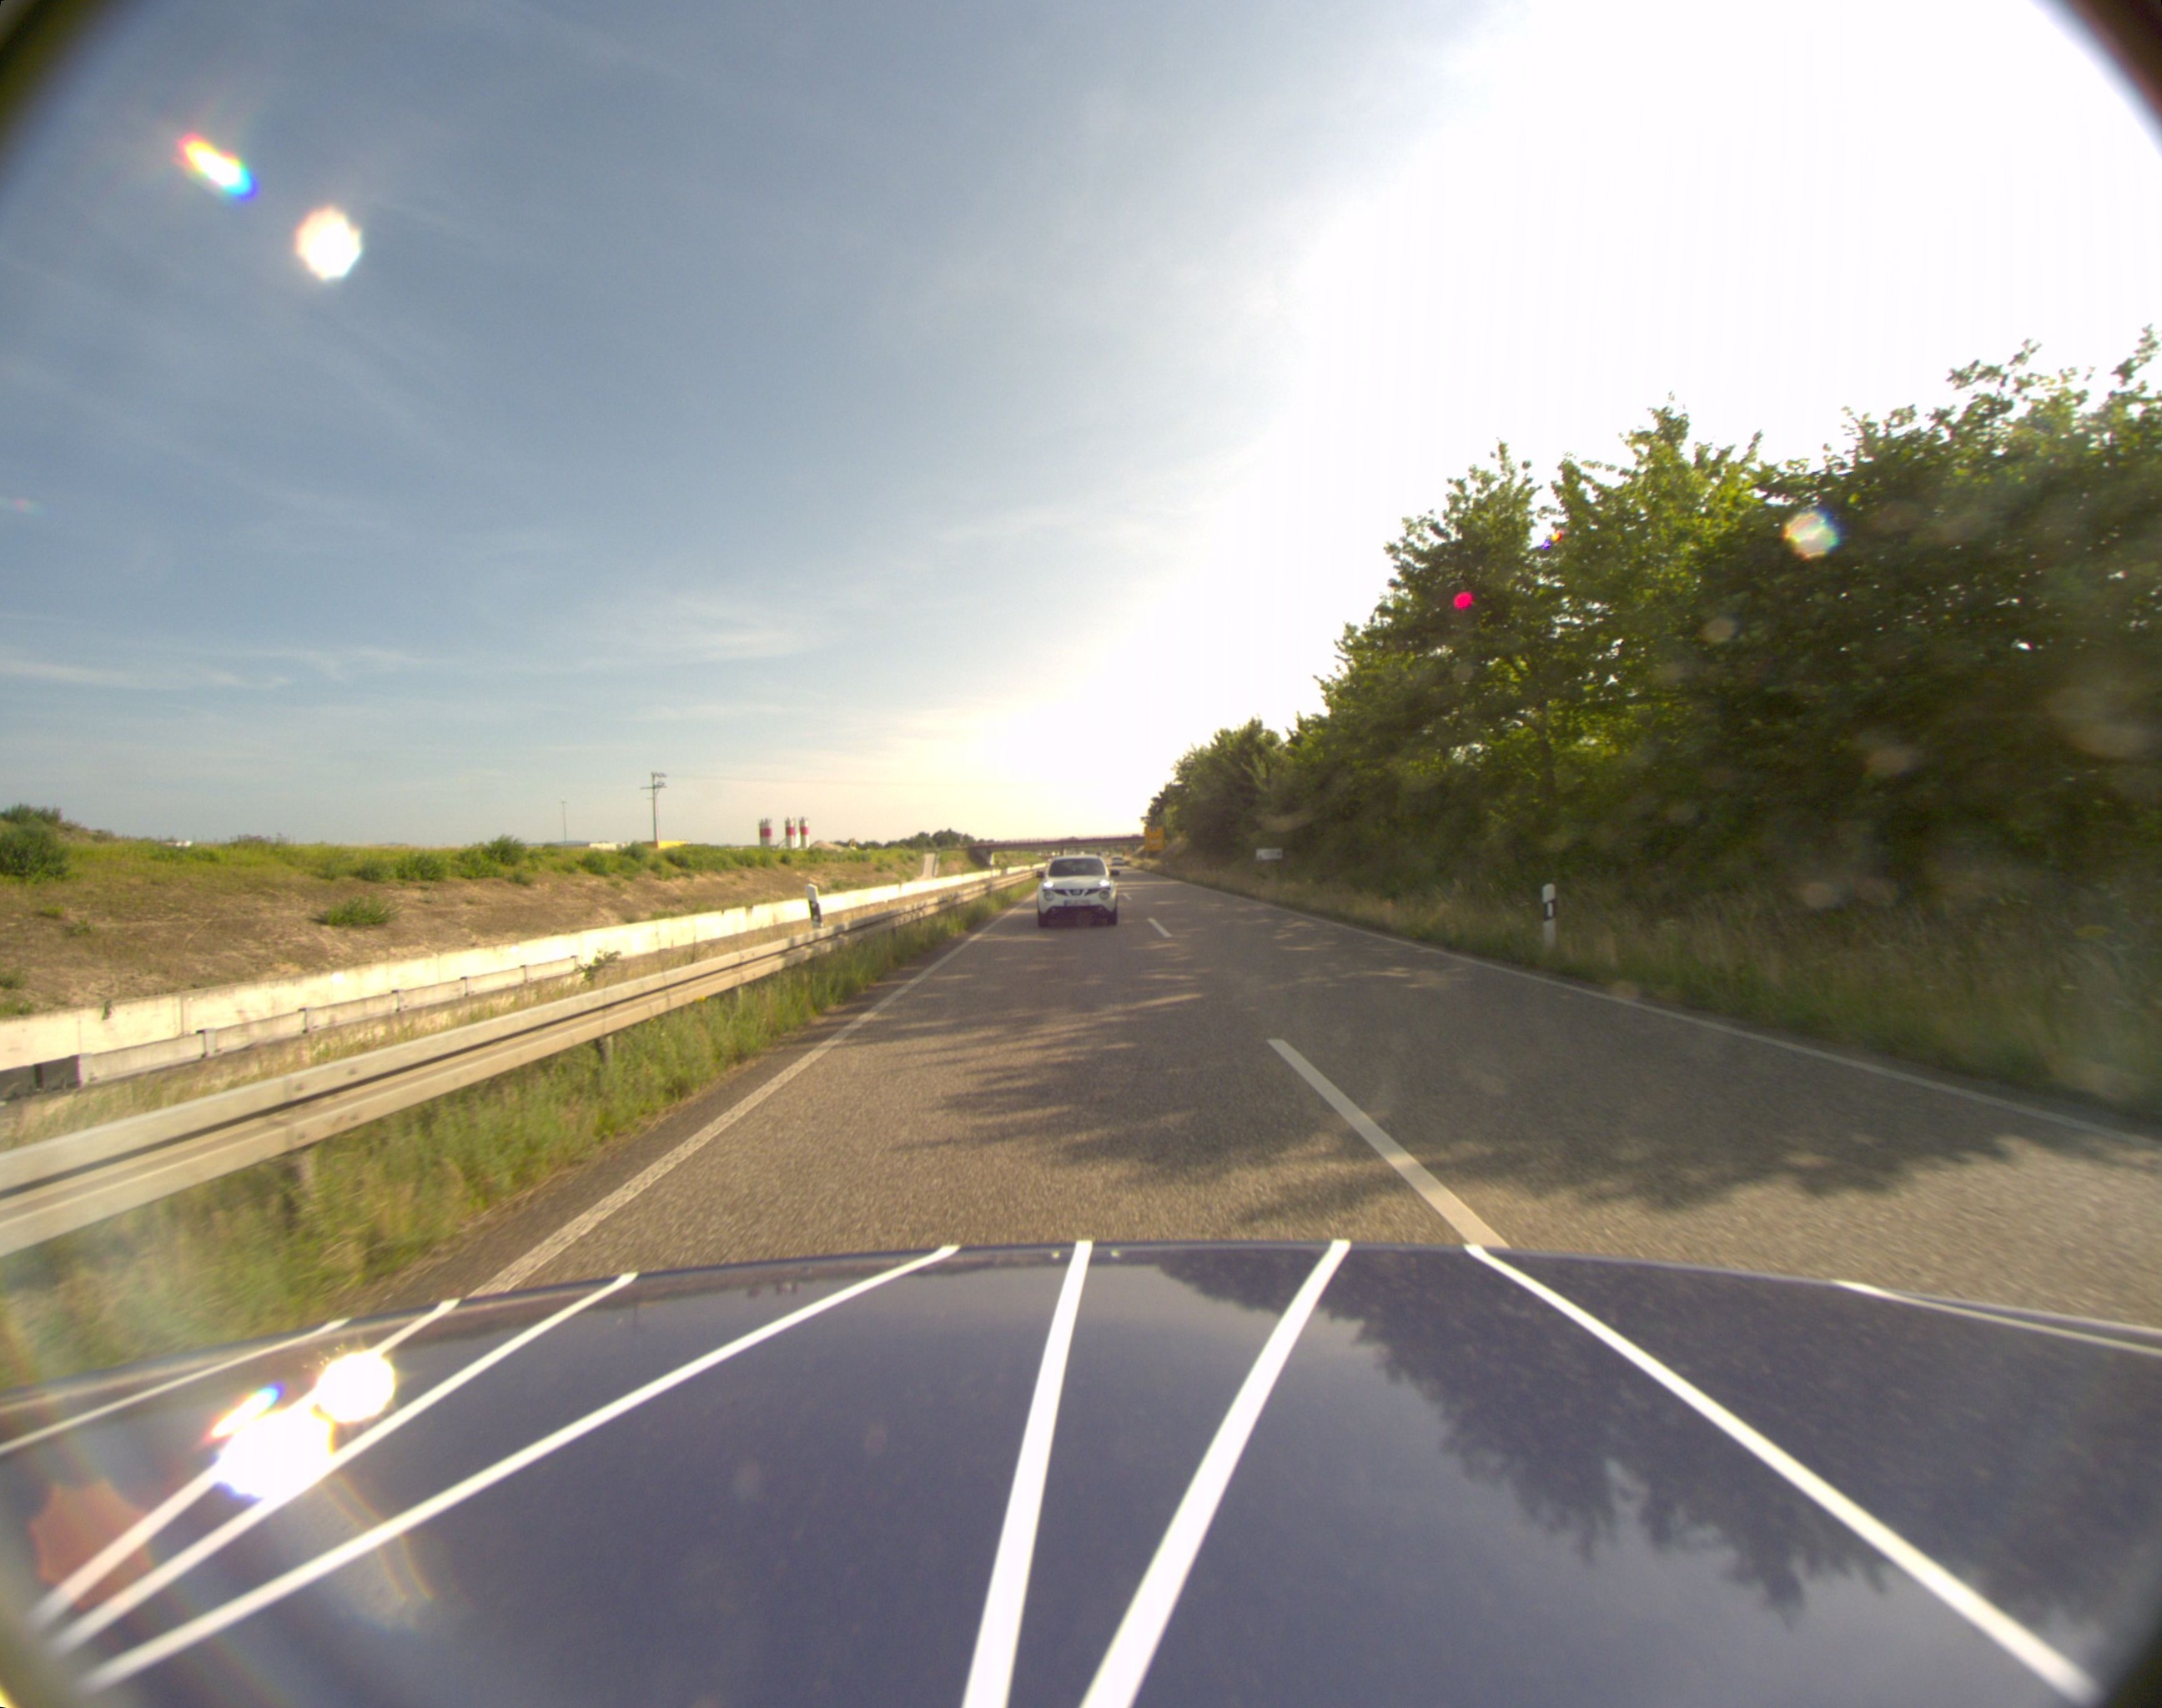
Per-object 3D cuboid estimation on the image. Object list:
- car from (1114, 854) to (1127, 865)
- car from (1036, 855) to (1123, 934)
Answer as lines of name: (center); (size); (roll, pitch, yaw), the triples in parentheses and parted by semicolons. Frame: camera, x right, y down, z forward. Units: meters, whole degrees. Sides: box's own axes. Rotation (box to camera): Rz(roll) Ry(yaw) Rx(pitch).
car: (6.040, 0.876, 117.738); (1.749, 1.555, 4.365); (-2, 0, 0)
car: (-0.055, 0.858, 18.288); (1.789, 1.593, 4.571); (-2, 0, -1)
